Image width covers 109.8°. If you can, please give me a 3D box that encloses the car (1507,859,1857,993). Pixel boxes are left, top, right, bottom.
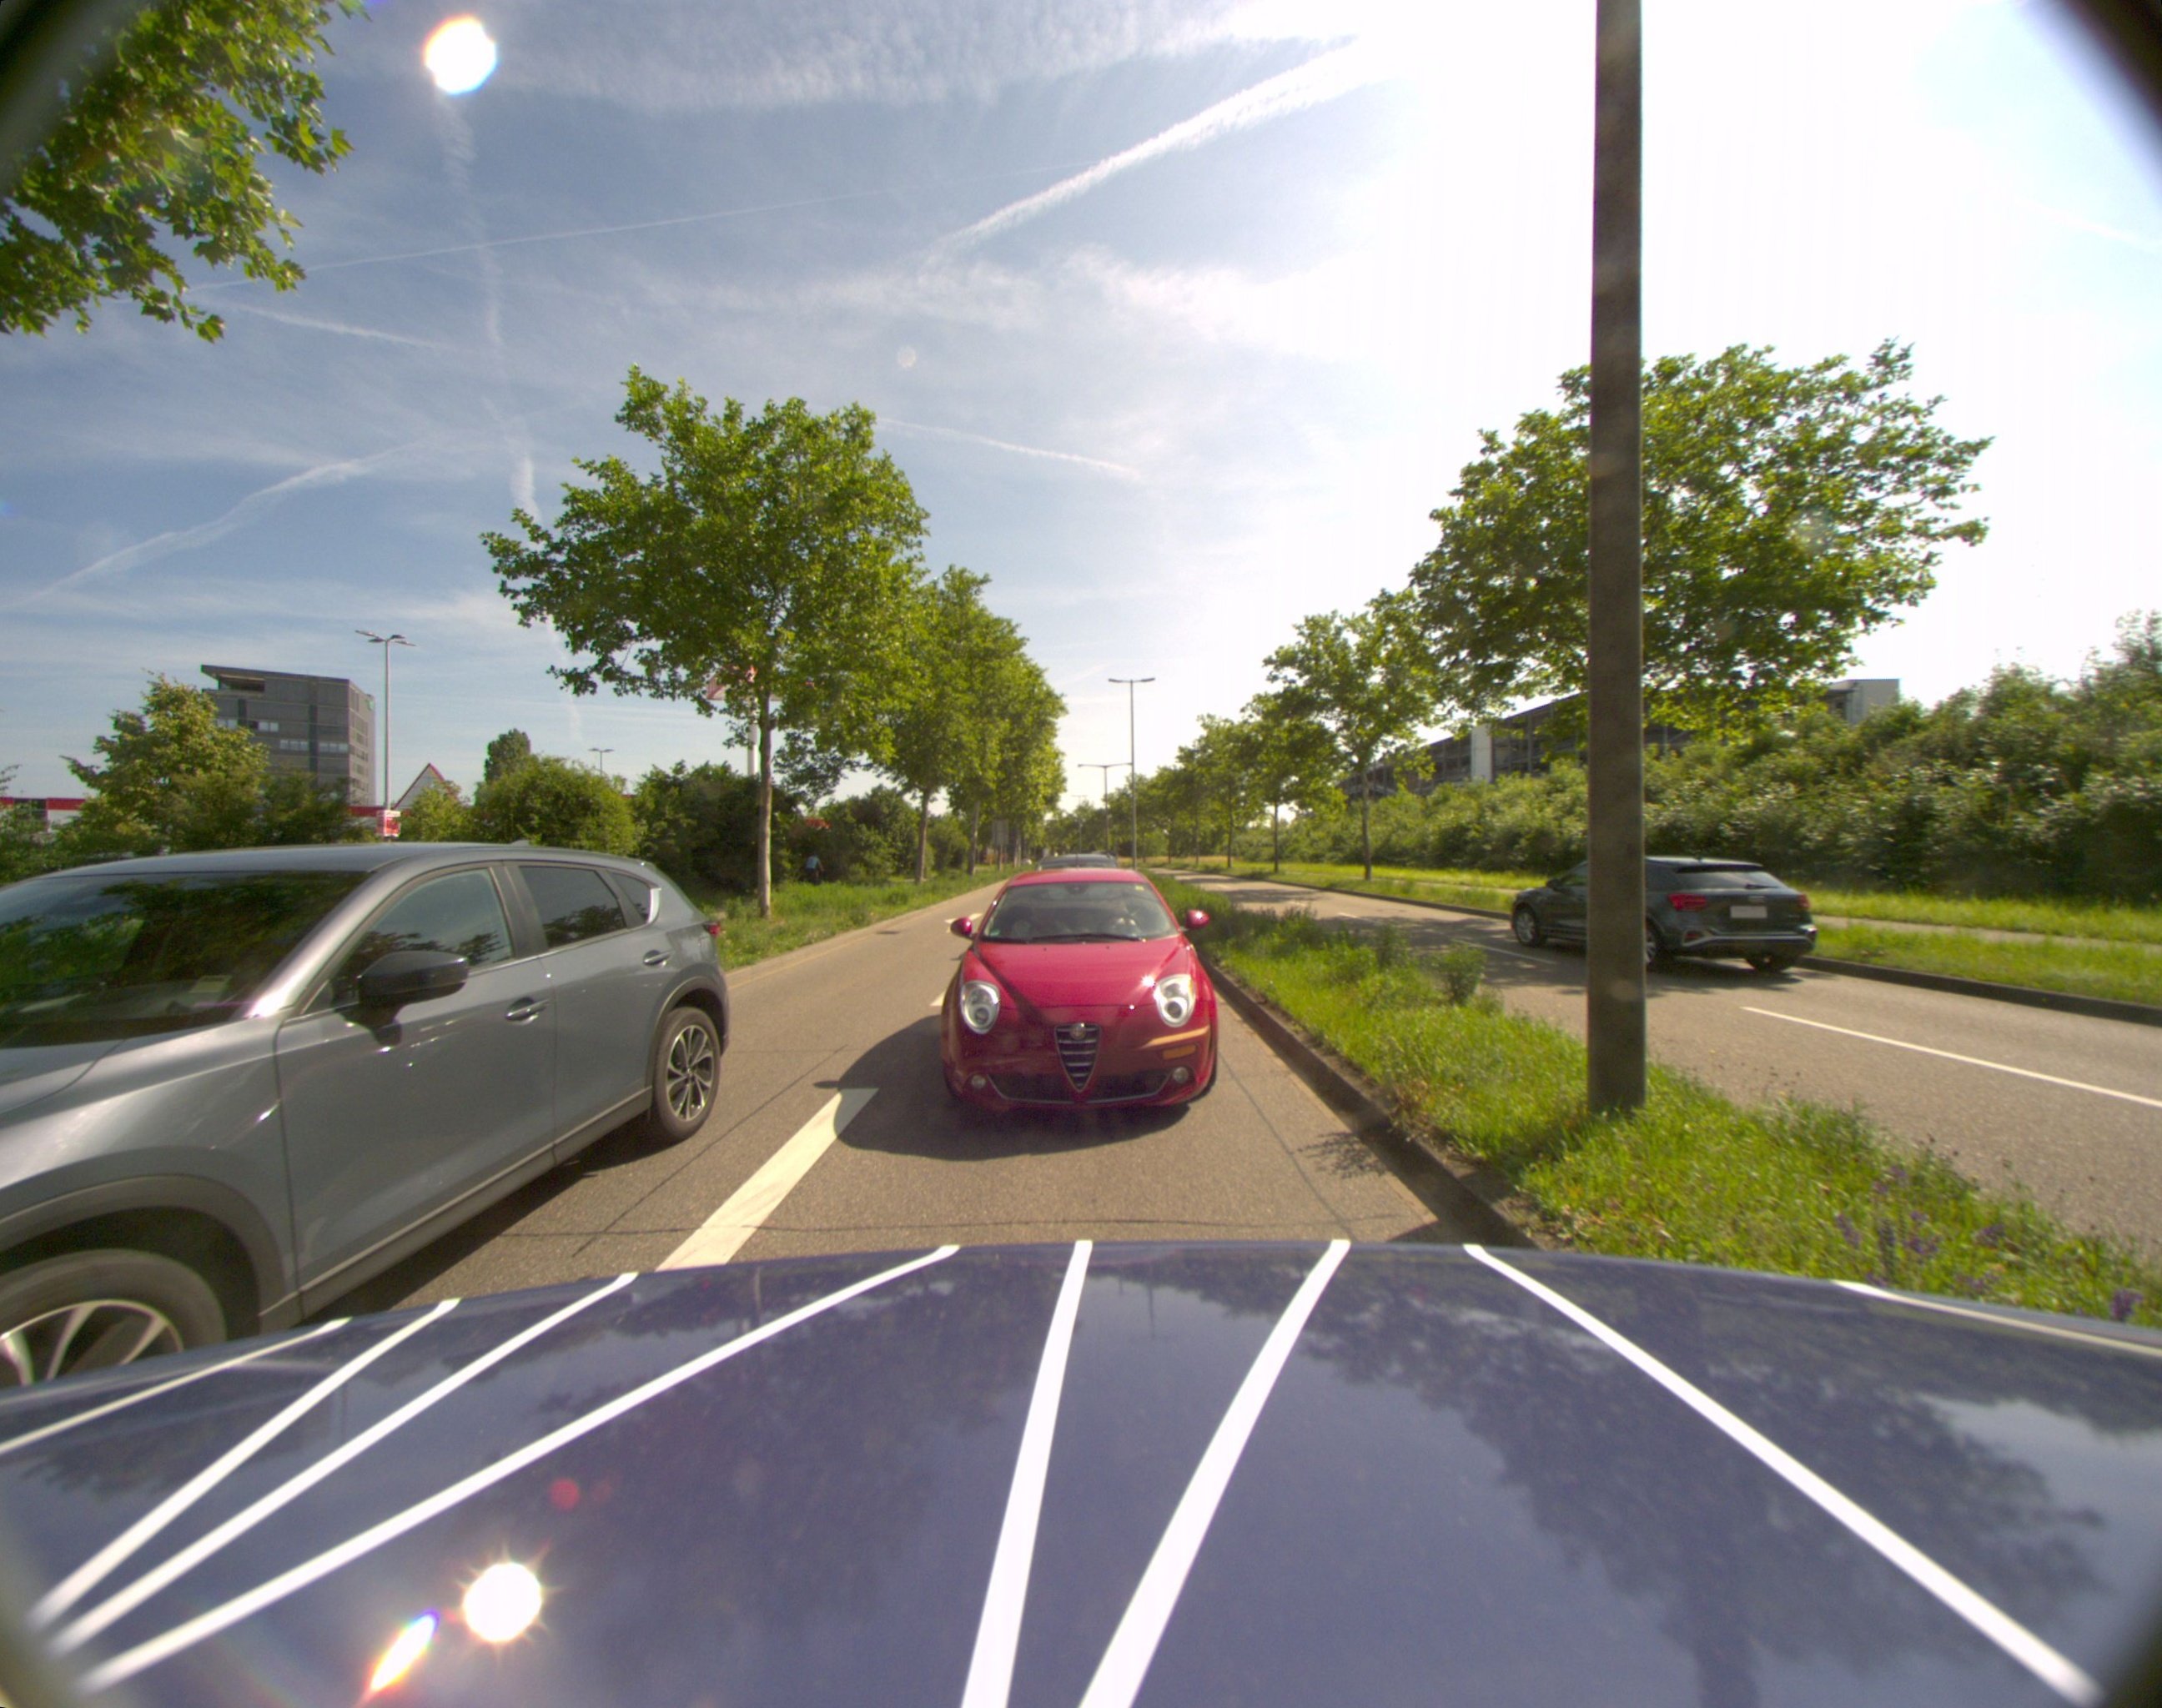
[{"bbox_3d":[8.119,0.856,10.835,1.868,1.459,3.937,-1,1,0],"label":"car"}]

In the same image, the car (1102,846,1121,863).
[{"bbox_3d":[4.560,0.052,115.607,2.065,2.396,5.535,0,0,-7],"label":"car"}]

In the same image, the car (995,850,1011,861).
[{"bbox_3d":[-17.081,0.263,166.523,2.067,2.396,5.995,0,1,-20],"label":"car"}]

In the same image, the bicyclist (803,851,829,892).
[{"bbox_3d":[-10.845,0.702,31.066,0.687,1.622,1.002,0,1,1],"label":"bicyclist"}]

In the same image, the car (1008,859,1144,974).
[{"bbox_3d":[-0.045,0.884,12.625,1.874,1.536,4.081,-1,0,1],"label":"car"}]

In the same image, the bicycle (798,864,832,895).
[{"bbox_3d":[-10.841,1.023,31.068,0.687,1.230,1.934,0,1,1],"label":"bicycle"}]

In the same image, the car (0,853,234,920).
[{"bbox_3d":[-25.083,0.764,19.696,3.870,1.576,1.844,-1,1,-38],"label":"car"}]

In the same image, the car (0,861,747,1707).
[{"bbox_3d":[-3.077,0.911,2.658,1.770,1.649,4.495,-2,0,0],"label":"car"}]

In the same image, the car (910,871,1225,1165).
[{"bbox_3d":[-0.048,0.940,6.072,1.658,1.430,3.908,-2,0,1],"label":"car"}]
